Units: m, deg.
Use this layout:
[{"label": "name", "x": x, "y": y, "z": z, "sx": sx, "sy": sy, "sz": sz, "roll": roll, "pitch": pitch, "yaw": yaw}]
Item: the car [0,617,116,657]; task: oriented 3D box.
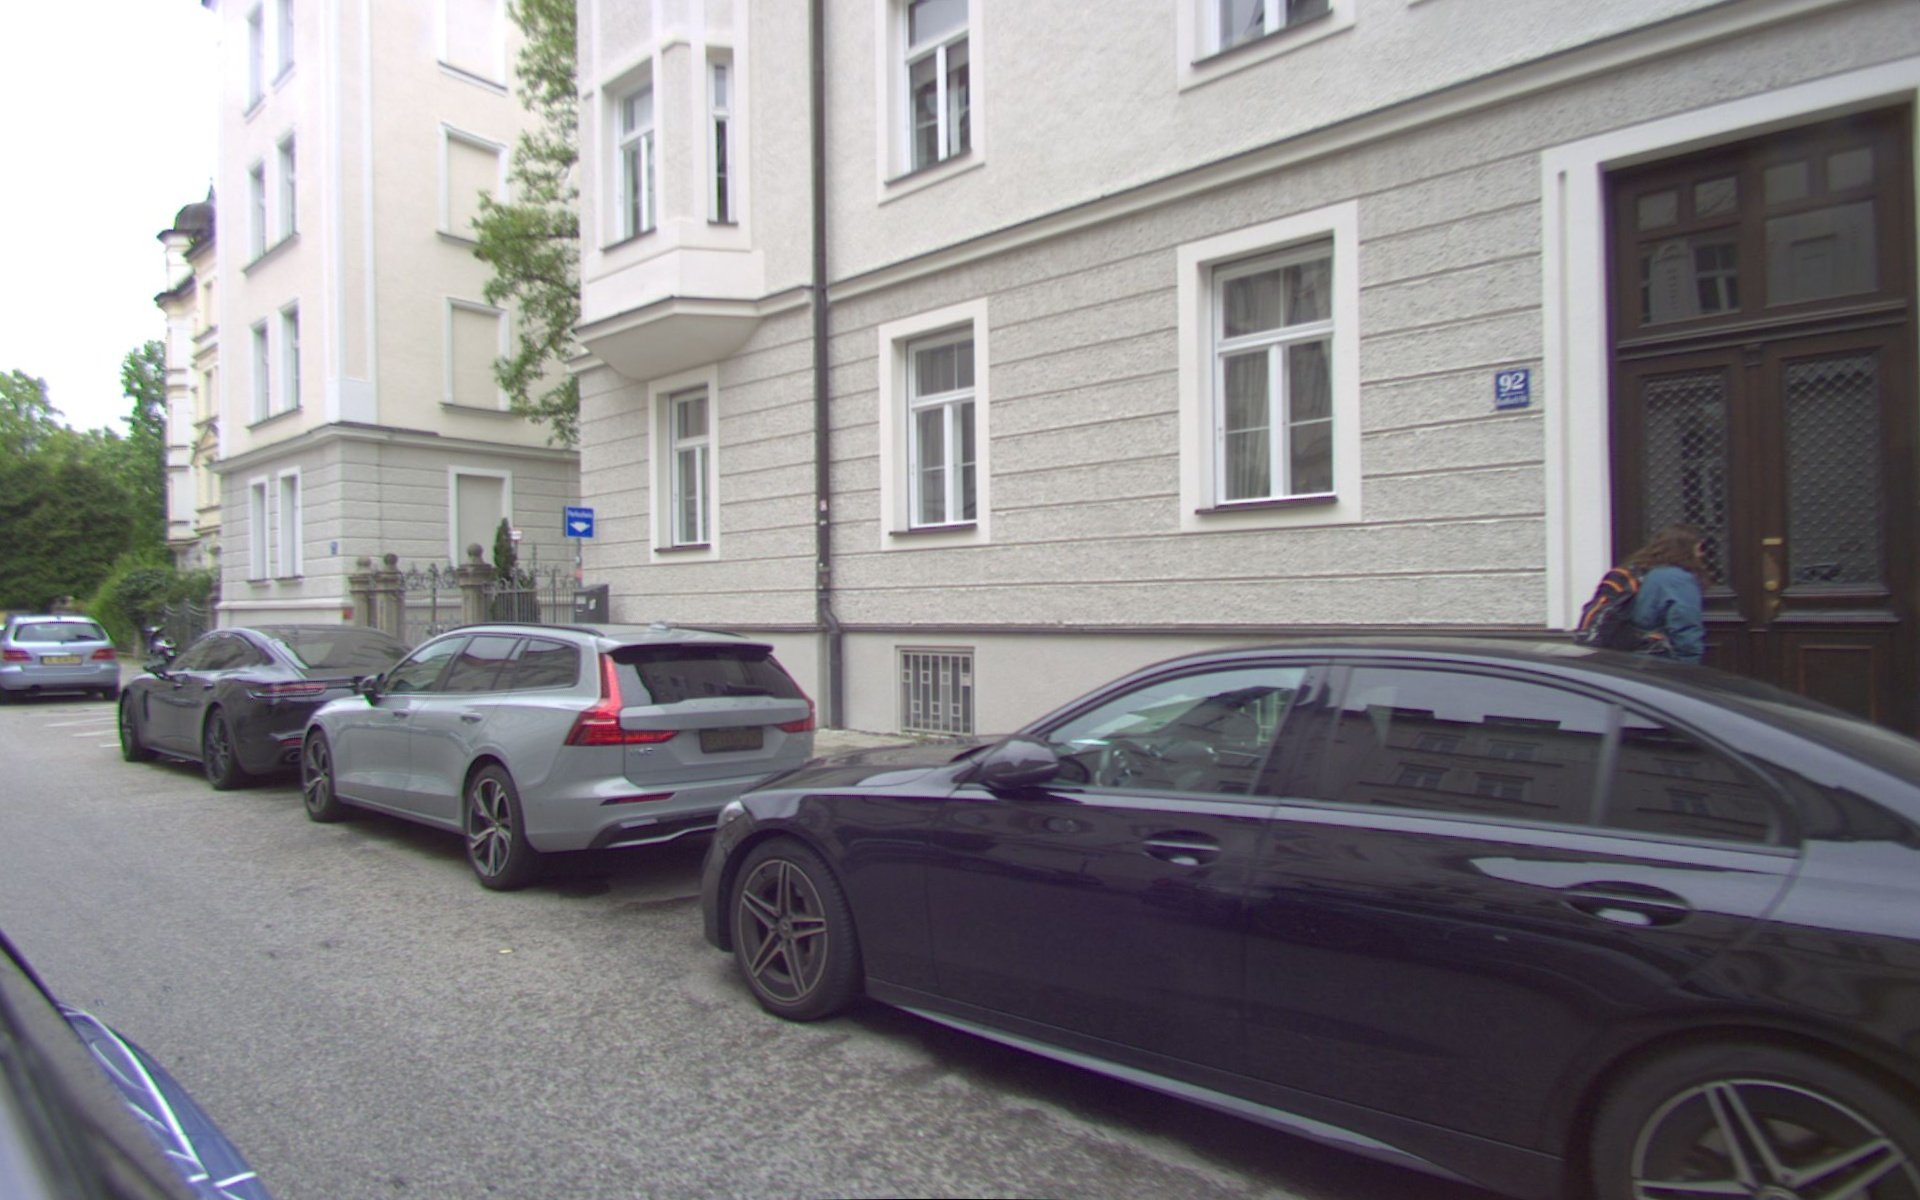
[{"label": "car", "x": -46.282, "y": 1.845, "z": 51.730, "sx": 2.049, "sy": 1.871, "sz": 4.470, "roll": -2, "pitch": -1, "yaw": 33}]

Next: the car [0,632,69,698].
[{"label": "car", "x": -21.975, "y": 1.444, "z": 23.171, "sx": 3.994, "sy": 1.414, "sz": 1.629, "roll": -1, "pitch": -3, "yaw": 38}]

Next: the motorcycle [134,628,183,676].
[{"label": "motorcycle", "x": -22.926, "y": 1.467, "z": 28.955, "sx": 1.819, "sy": 1.259, "sz": 0.697, "roll": -1, "pitch": 2, "yaw": 40}]

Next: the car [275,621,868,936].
[{"label": "car", "x": -2.833, "y": 0.875, "z": 6.788, "sx": 4.508, "sy": 1.430, "sz": 1.776, "roll": -1, "pitch": -3, "yaw": 41}]

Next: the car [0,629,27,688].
[{"label": "car", "x": -25.934, "y": 1.511, "z": 26.469, "sx": 4.077, "sy": 1.445, "sz": 1.779, "roll": -1, "pitch": 0, "yaw": 40}]

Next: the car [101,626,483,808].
[{"label": "car", "x": -6.832, "y": 0.985, "z": 10.143, "sx": 4.696, "sy": 1.377, "sz": 1.832, "roll": -2, "pitch": 0, "yaw": 39}]

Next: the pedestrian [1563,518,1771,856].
[{"label": "pedestrian", "x": 3.839, "y": 0.450, "z": 5.558, "sx": 0.658, "sy": 1.720, "sz": 0.697, "roll": -1, "pitch": 0, "yaw": 10}]

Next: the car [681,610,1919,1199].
[{"label": "car", "x": 1.210, "y": 0.758, "z": 3.312, "sx": 4.436, "sy": 1.396, "sz": 1.793, "roll": -1, "pitch": -2, "yaw": 37}]

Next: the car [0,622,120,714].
[{"label": "car", "x": -17.625, "y": 1.253, "z": 19.397, "sx": 4.059, "sy": 1.593, "sz": 1.679, "roll": -2, "pitch": -3, "yaw": 41}]
